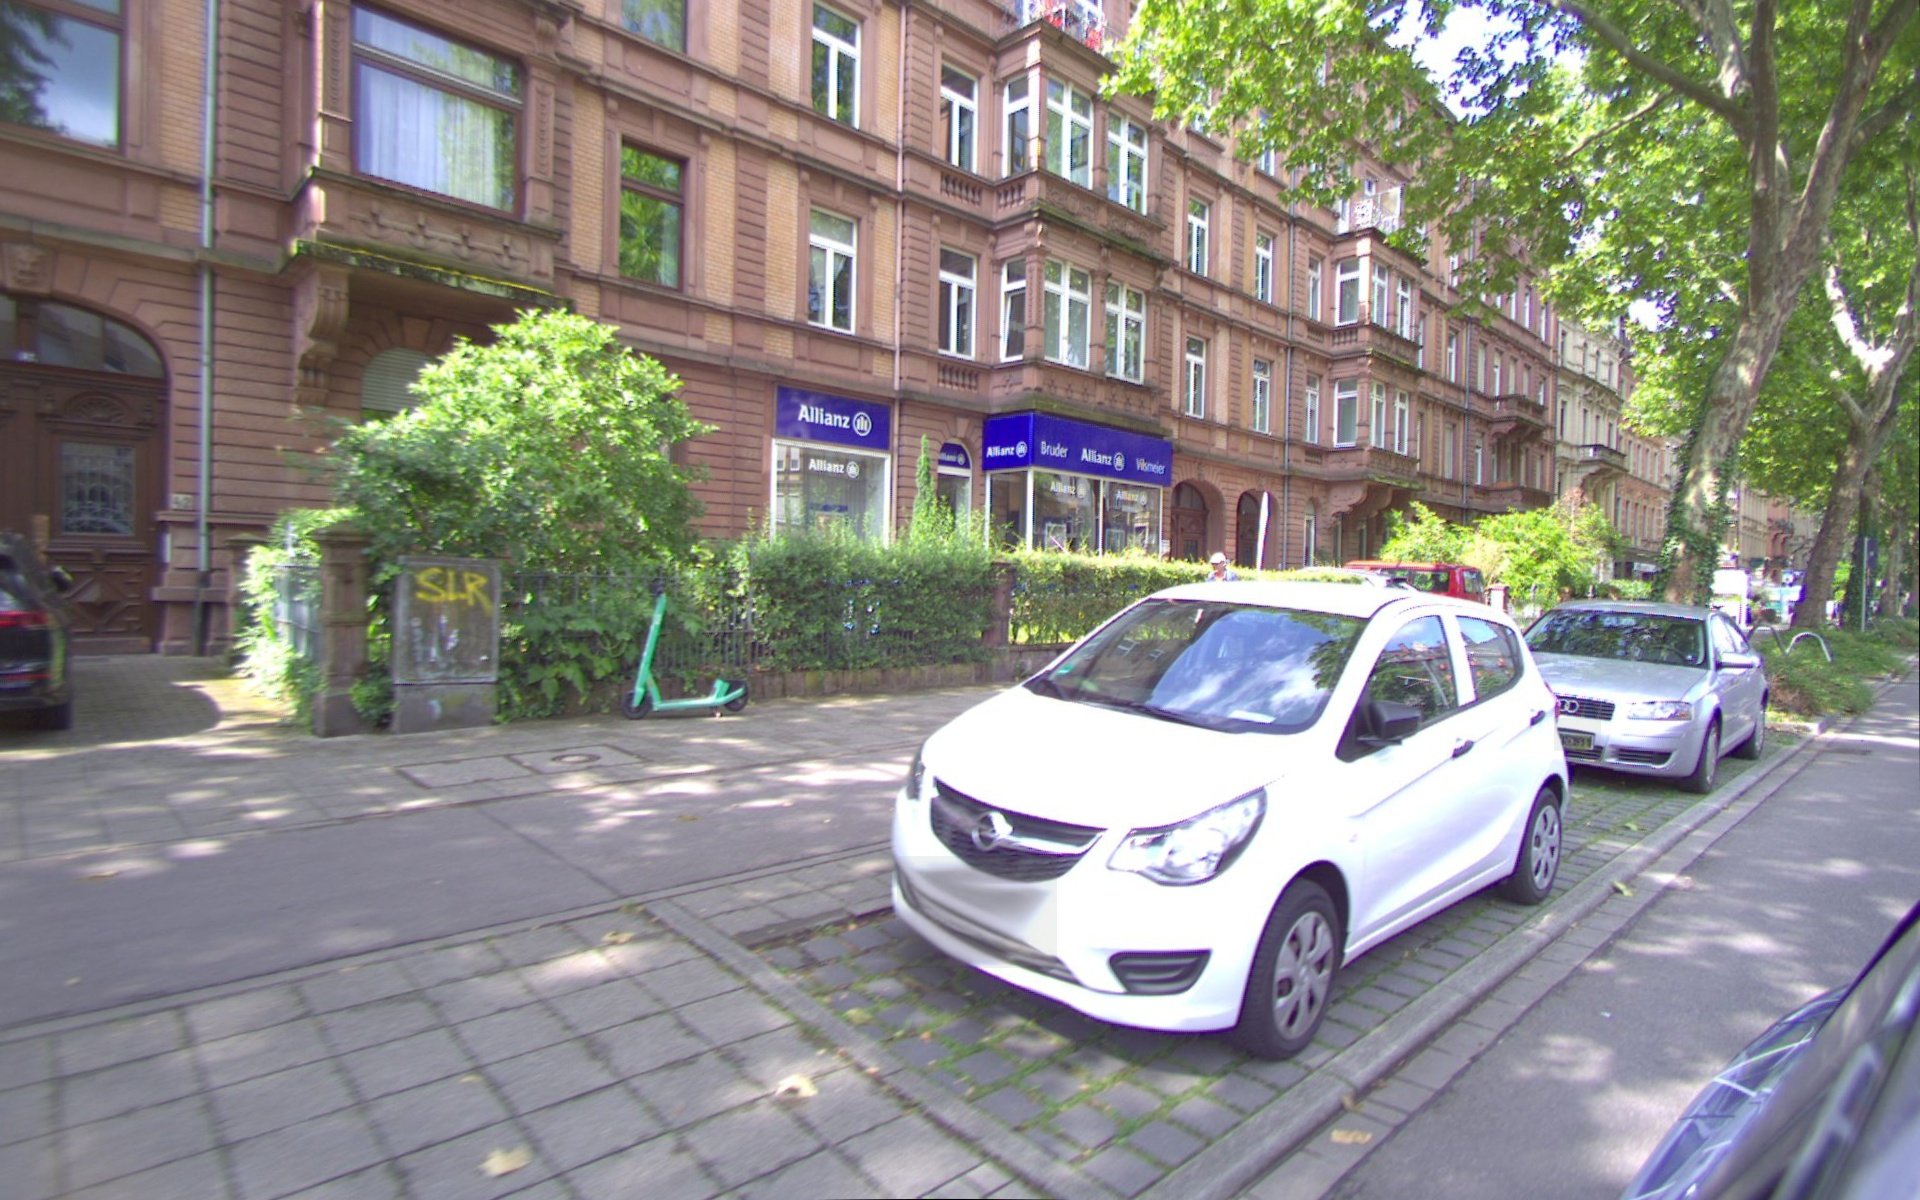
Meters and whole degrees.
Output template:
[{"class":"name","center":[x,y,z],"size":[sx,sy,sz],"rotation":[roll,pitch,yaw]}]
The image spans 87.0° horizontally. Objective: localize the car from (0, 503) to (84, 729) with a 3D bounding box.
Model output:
[{"class":"car","center":[-8.124,-0.004,7.819],"size":[1.909,1.487,4.240],"rotation":[0,3,-43]}]

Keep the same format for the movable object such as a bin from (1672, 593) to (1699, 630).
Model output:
[{"class":"movable object such as a bin","center":[25.026,0.379,34.909],"size":[0.607,1.224,1.043],"rotation":[5,3,40]}]

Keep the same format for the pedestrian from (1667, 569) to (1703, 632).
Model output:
[{"class":"pedestrian","center":[24.579,0.003,34.301],"size":[0.764,2.038,1.103],"rotation":[5,3,41]}]

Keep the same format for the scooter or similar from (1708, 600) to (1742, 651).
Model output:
[{"class":"scooter or similar","center":[19.168,0.631,25.354],"size":[1.301,1.226,0.467],"rotation":[0,1,-44]}]

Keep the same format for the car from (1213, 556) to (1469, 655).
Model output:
[{"class":"car","center":[8.062,0.039,21.646],"size":[4.714,1.804,1.977],"rotation":[3,2,39]}]

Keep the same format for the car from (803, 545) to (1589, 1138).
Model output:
[{"class":"car","center":[1.331,0.575,4.475],"size":[3.795,1.503,1.555],"rotation":[-1,3,-44]}]

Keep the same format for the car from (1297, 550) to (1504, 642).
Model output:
[{"class":"car","center":[11.294,-0.165,26.155],"size":[1.950,1.962,4.404],"rotation":[1,4,-43]}]

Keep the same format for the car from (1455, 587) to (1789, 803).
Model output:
[{"class":"car","center":[5.974,0.653,8.952],"size":[3.795,1.462,1.679],"rotation":[0,1,-44]}]

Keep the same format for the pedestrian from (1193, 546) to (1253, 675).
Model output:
[{"class":"pedestrian","center":[3.792,0.140,14.568],"size":[0.619,1.808,0.564],"rotation":[0,1,-44]}]
